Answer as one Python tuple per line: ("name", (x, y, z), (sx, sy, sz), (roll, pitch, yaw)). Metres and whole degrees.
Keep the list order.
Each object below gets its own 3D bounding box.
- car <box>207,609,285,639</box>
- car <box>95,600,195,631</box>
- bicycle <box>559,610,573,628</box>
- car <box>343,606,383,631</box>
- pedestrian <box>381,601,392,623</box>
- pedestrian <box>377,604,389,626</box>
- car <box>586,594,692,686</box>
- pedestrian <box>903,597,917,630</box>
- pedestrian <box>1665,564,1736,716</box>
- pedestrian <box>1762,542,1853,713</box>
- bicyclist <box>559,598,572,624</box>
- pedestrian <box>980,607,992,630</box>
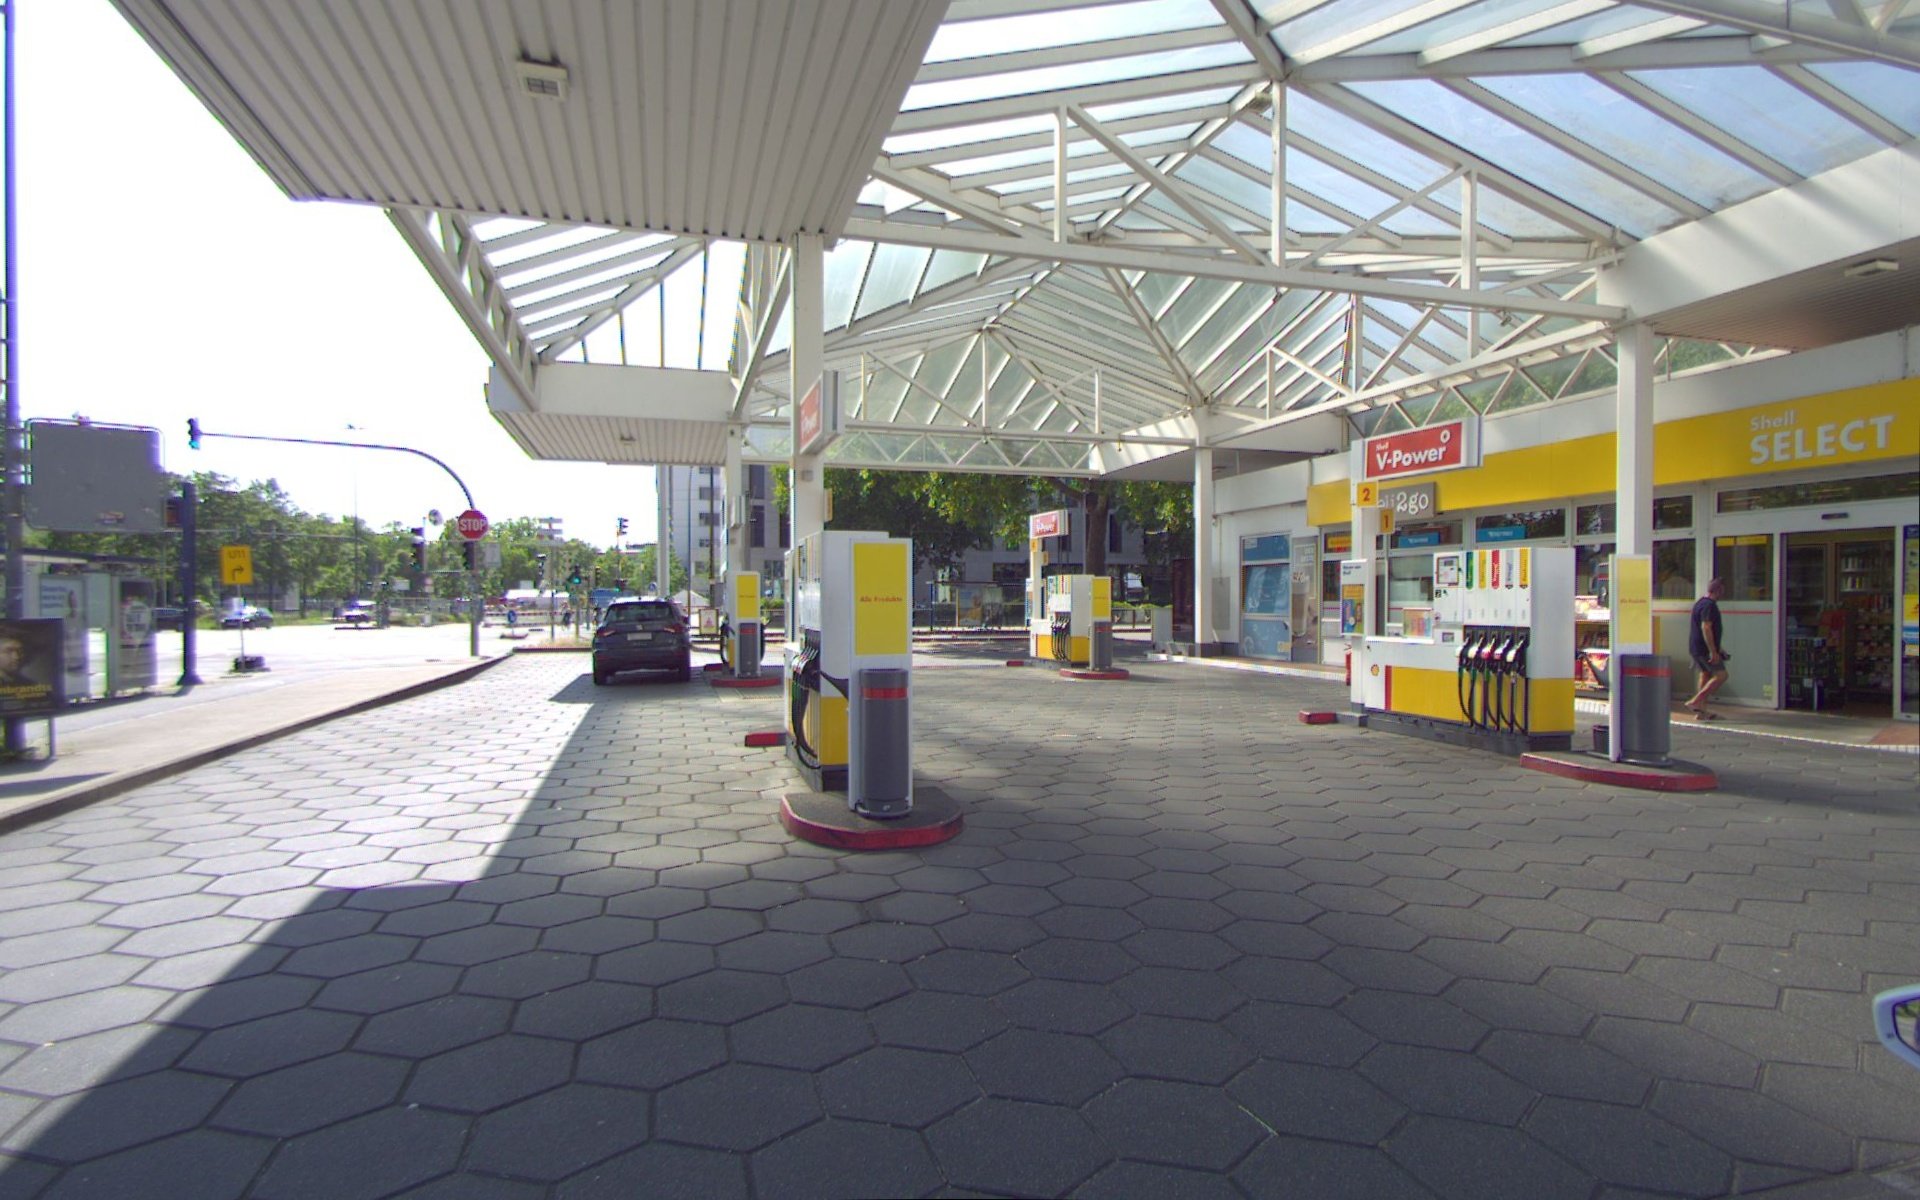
("car", (-46.620, 1.532, 65.671), (1.960, 1.829, 4.212), (-2, 0, 2))
("car", (-46.157, 0.857, 56.978), (1.965, 1.727, 3.992), (0, 0, 30))
("bicycle", (-24.207, 1.139, 61.661), (0.631, 1.096, 2.013), (0, 0, -26))
("car", (-52.415, 1.609, 88.285), (1.968, 2.040, 4.429), (-2, 0, -18))
("pedestrian", (-38.807, 0.800, 67.961), (0.556, 1.488, 0.512), (0, 0, -16))
("pedestrian", (-38.543, 0.989, 67.069), (0.556, 1.488, 0.512), (0, 0, -15))
("car", (-6.161, 0.716, 19.419), (1.721, 1.552, 3.986), (-1, 0, -17))
("pedestrian", (-2.458, 0.667, 49.336), (0.576, 1.613, 0.667), (0, 2, -17))
("pedestrian", (8.971, 0.470, 12.168), (0.525, 1.785, 0.567), (0, 0, -37))
("pedestrian", (10.509, 0.329, 12.462), (0.733, 2.040, 0.619), (0, 0, -26))
("bicyclist", (-24.291, 0.678, 61.843), (0.631, 1.601, 1.166), (0, 0, -25))
("pedestrian", (1.321, 0.920, 50.722), (0.491, 1.153, 0.523), (0, 0, -10))
